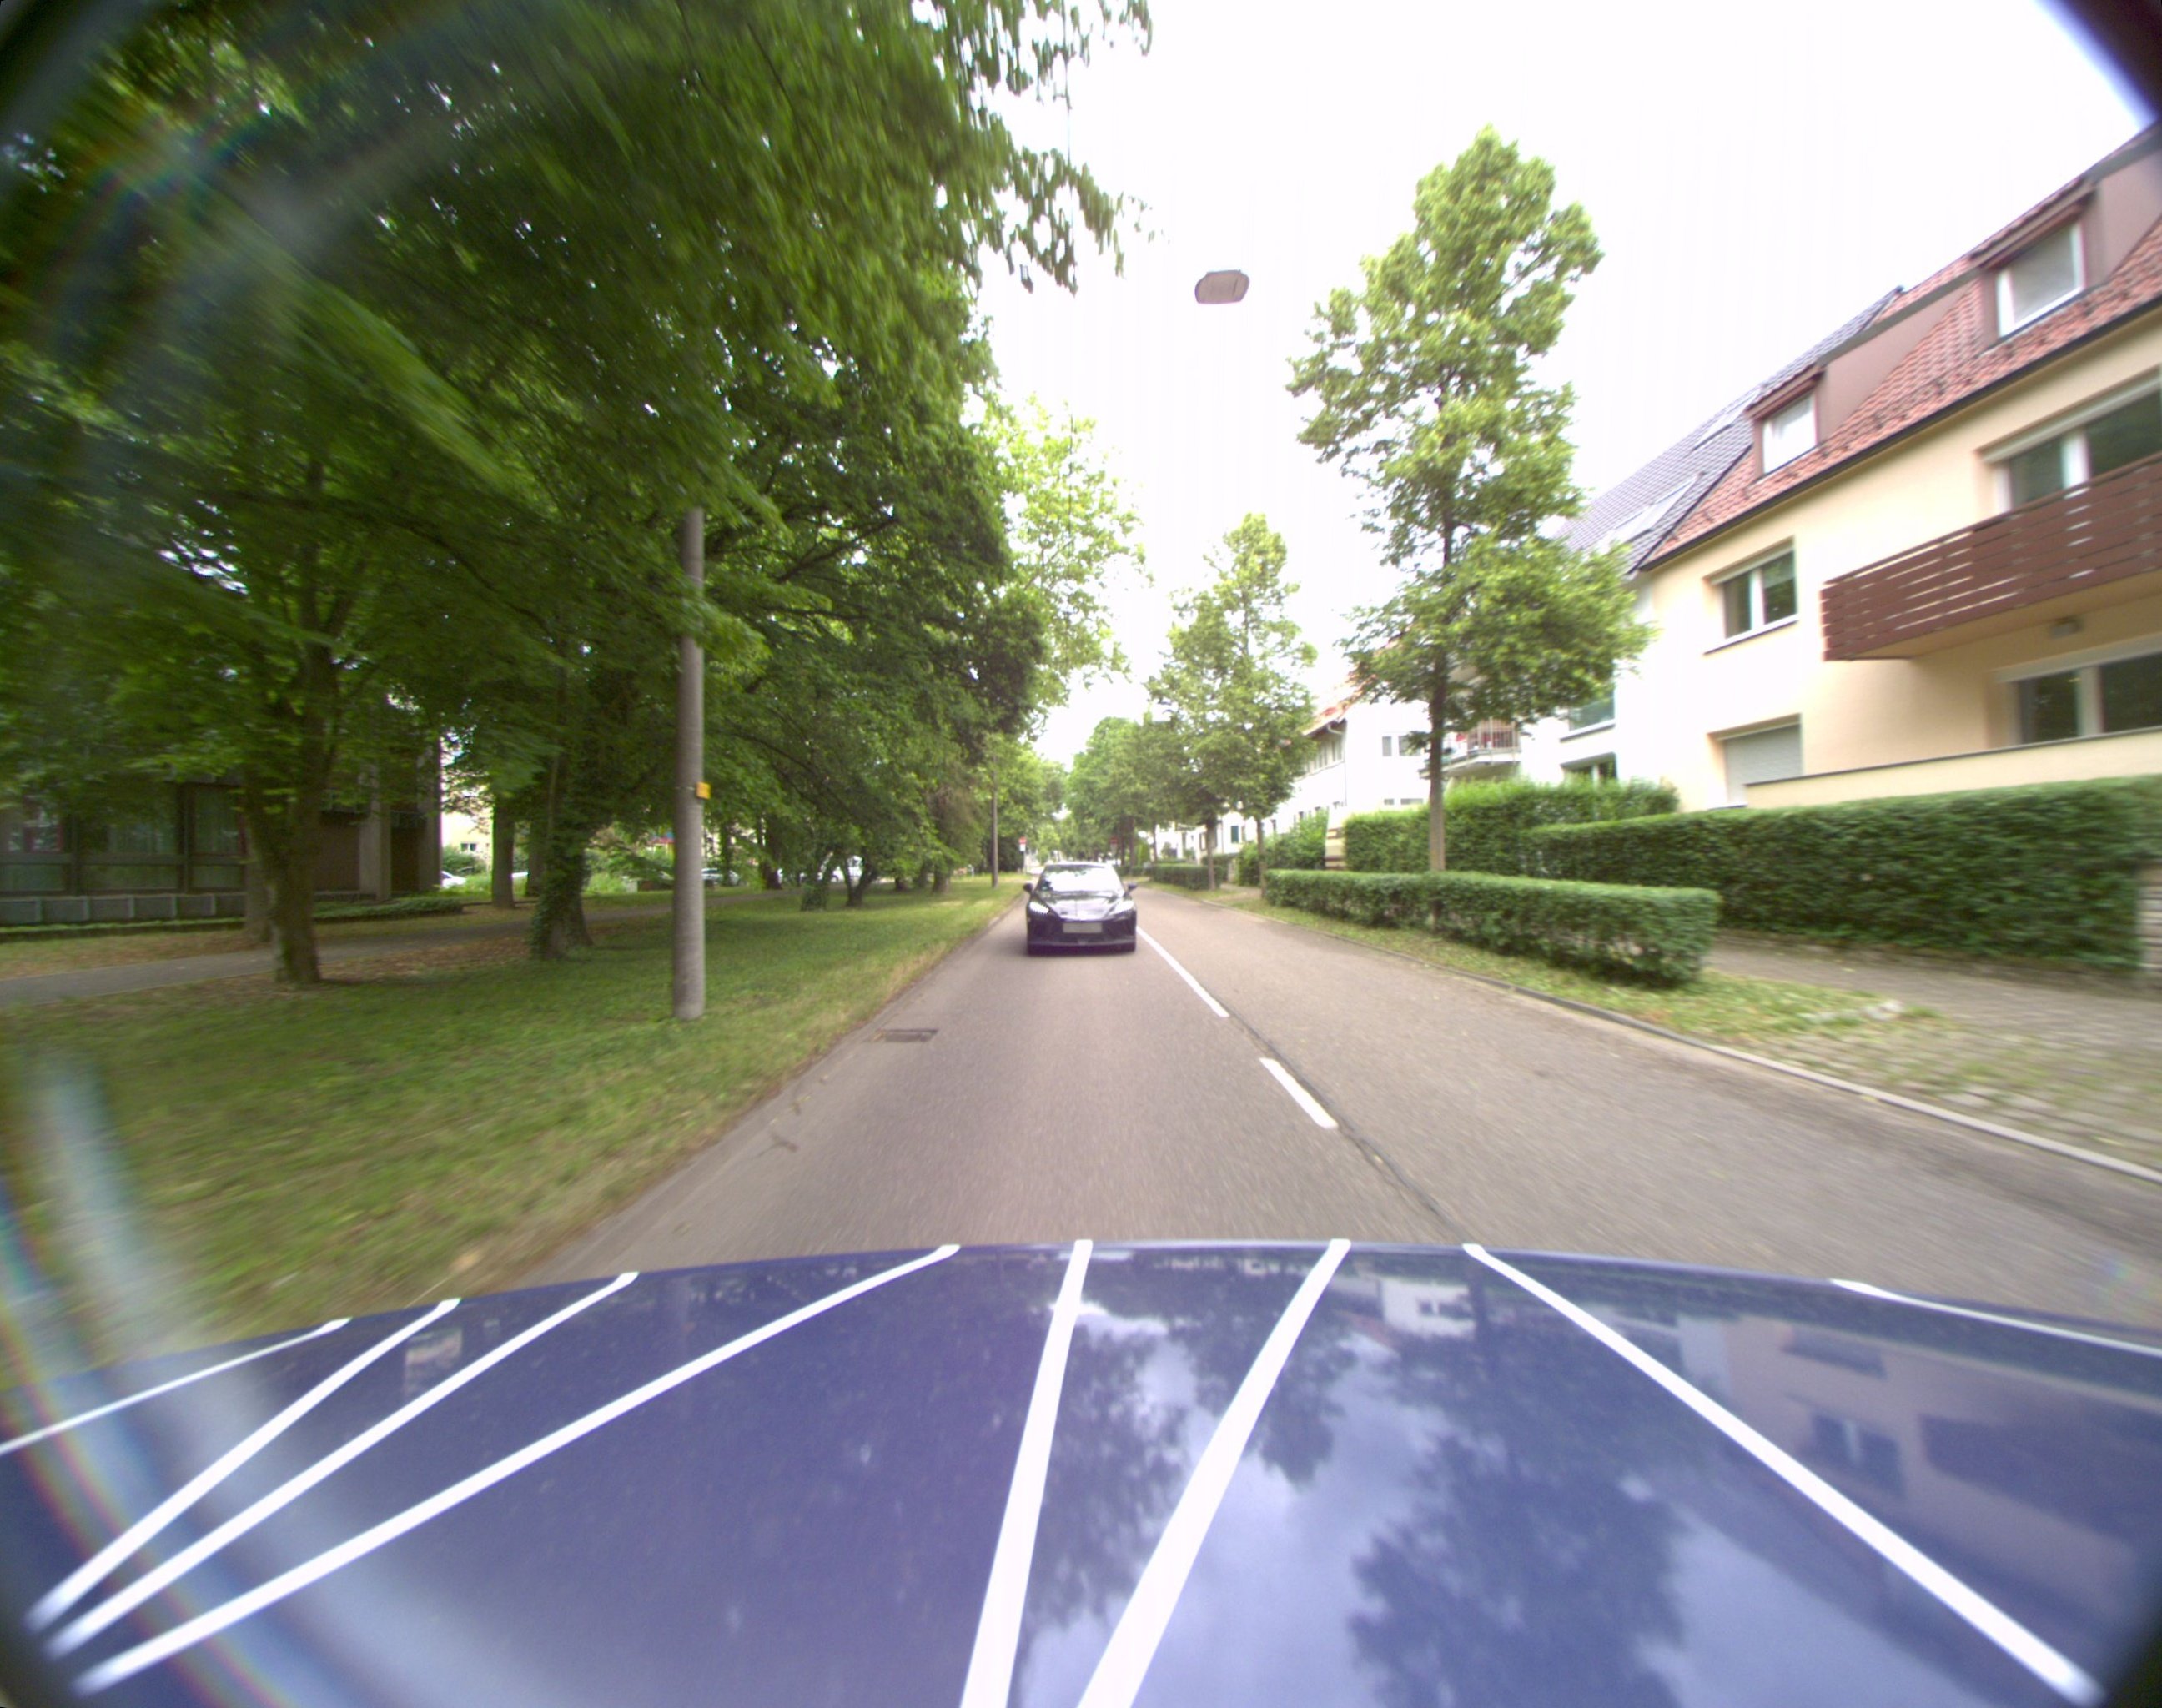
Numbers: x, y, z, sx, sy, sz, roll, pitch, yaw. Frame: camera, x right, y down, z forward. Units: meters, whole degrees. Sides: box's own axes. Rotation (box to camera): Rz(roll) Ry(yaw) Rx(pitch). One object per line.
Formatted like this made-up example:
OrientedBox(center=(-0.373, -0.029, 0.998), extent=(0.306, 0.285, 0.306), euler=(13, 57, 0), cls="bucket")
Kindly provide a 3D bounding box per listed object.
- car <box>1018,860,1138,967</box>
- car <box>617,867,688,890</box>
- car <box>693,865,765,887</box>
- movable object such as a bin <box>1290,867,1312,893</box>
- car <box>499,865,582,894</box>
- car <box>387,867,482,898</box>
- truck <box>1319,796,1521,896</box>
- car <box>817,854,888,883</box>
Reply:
OrientedBox(center=(-0.084, 0.937, 14.014), extent=(1.799, 1.552, 4.470), euler=(-2, 0, -1), cls="car")
OrientedBox(center=(-30.465, 1.717, 54.065), extent=(1.795, 1.501, 4.008), euler=(-2, -1, 40), cls="car")
OrientedBox(center=(-26.762, 1.637, 57.839), extent=(1.795, 1.501, 4.613), euler=(-2, -1, 43), cls="car")
OrientedBox(center=(8.002, 0.943, 27.648), extent=(0.581, 0.921, 0.693), euler=(0, 0, 1), cls="movable object such as a bin")
OrientedBox(center=(-34.633, 1.620, 48.756), extent=(1.795, 1.664, 4.008), euler=(-2, -1, 41), cls="car")
OrientedBox(center=(-38.107, 1.636, 44.820), extent=(1.795, 1.664, 4.008), euler=(-2, -1, 41), cls="car")
OrientedBox(center=(11.549, -0.264, 26.213), extent=(5.812, 3.112, 2.517), euler=(-2, 0, -3), cls="truck")
OrientedBox(center=(-19.435, 1.197, 64.716), extent=(5.336, 2.285, 2.287), euler=(-1, -1, -35), cls="car")
